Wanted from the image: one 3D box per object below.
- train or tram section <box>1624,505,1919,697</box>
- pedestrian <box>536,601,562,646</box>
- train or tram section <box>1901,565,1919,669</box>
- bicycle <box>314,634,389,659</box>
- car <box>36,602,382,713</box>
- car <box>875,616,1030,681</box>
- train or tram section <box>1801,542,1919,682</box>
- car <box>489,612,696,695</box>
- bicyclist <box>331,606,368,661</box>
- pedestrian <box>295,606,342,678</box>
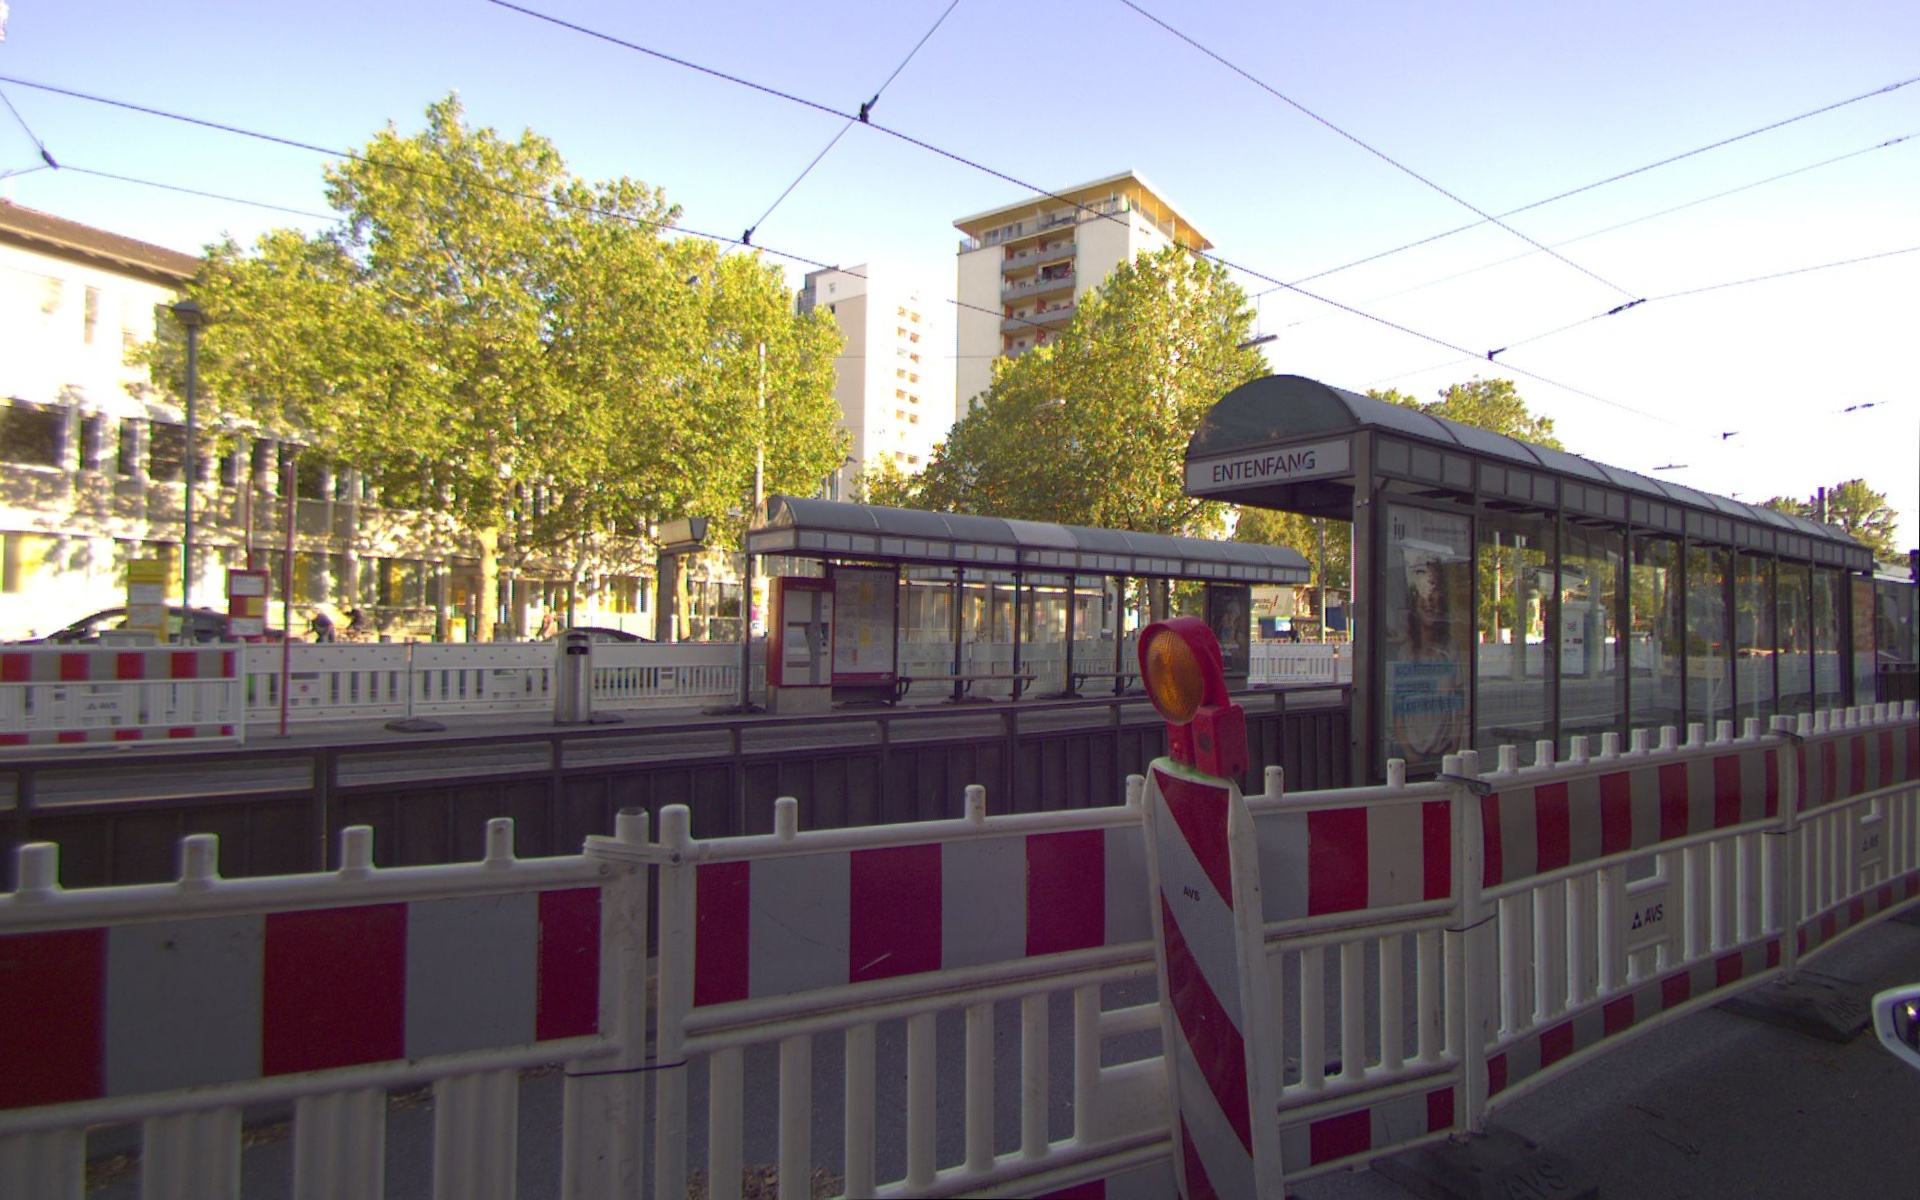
[{"bbox_3d":[19.380,0.159,23.271,11.657,3.581,2.668,2,0,-36],"label":"train or tram section"},{"bbox_3d":[-13.878,0.795,33.937,0.577,1.474,0.583,0,-2,36],"label":"pedestrian"},{"bbox_3d":[37.825,0.745,37.123,11.479,3.580,2.666,2,0,-38],"label":"train or tram section"},{"bbox_3d":[-19.671,1.502,32.536,0.669,0.792,1.986,0,-2,32],"label":"bicycle"},{"bbox_3d":[-12.624,0.951,17.300,4.511,1.683,1.982,2,-2,-34],"label":"car"},{"bbox_3d":[-0.181,1.326,28.075,3.959,1.683,1.901,2,-2,-35],"label":"car"},{"bbox_3d":[28.602,0.444,30.207,11.477,3.606,2.666,2,0,-38],"label":"train or tram section"},{"bbox_3d":[-8.091,1.153,22.213,3.958,1.683,1.982,2,-2,-34],"label":"car"},{"bbox_3d":[-19.720,1.087,32.450,0.662,1.750,0.763,0,-1,32],"label":"bicyclist"},{"bbox_3d":[-16.945,1.094,26.533,0.921,1.858,0.691,2,-2,-43],"label":"pedestrian"}]
